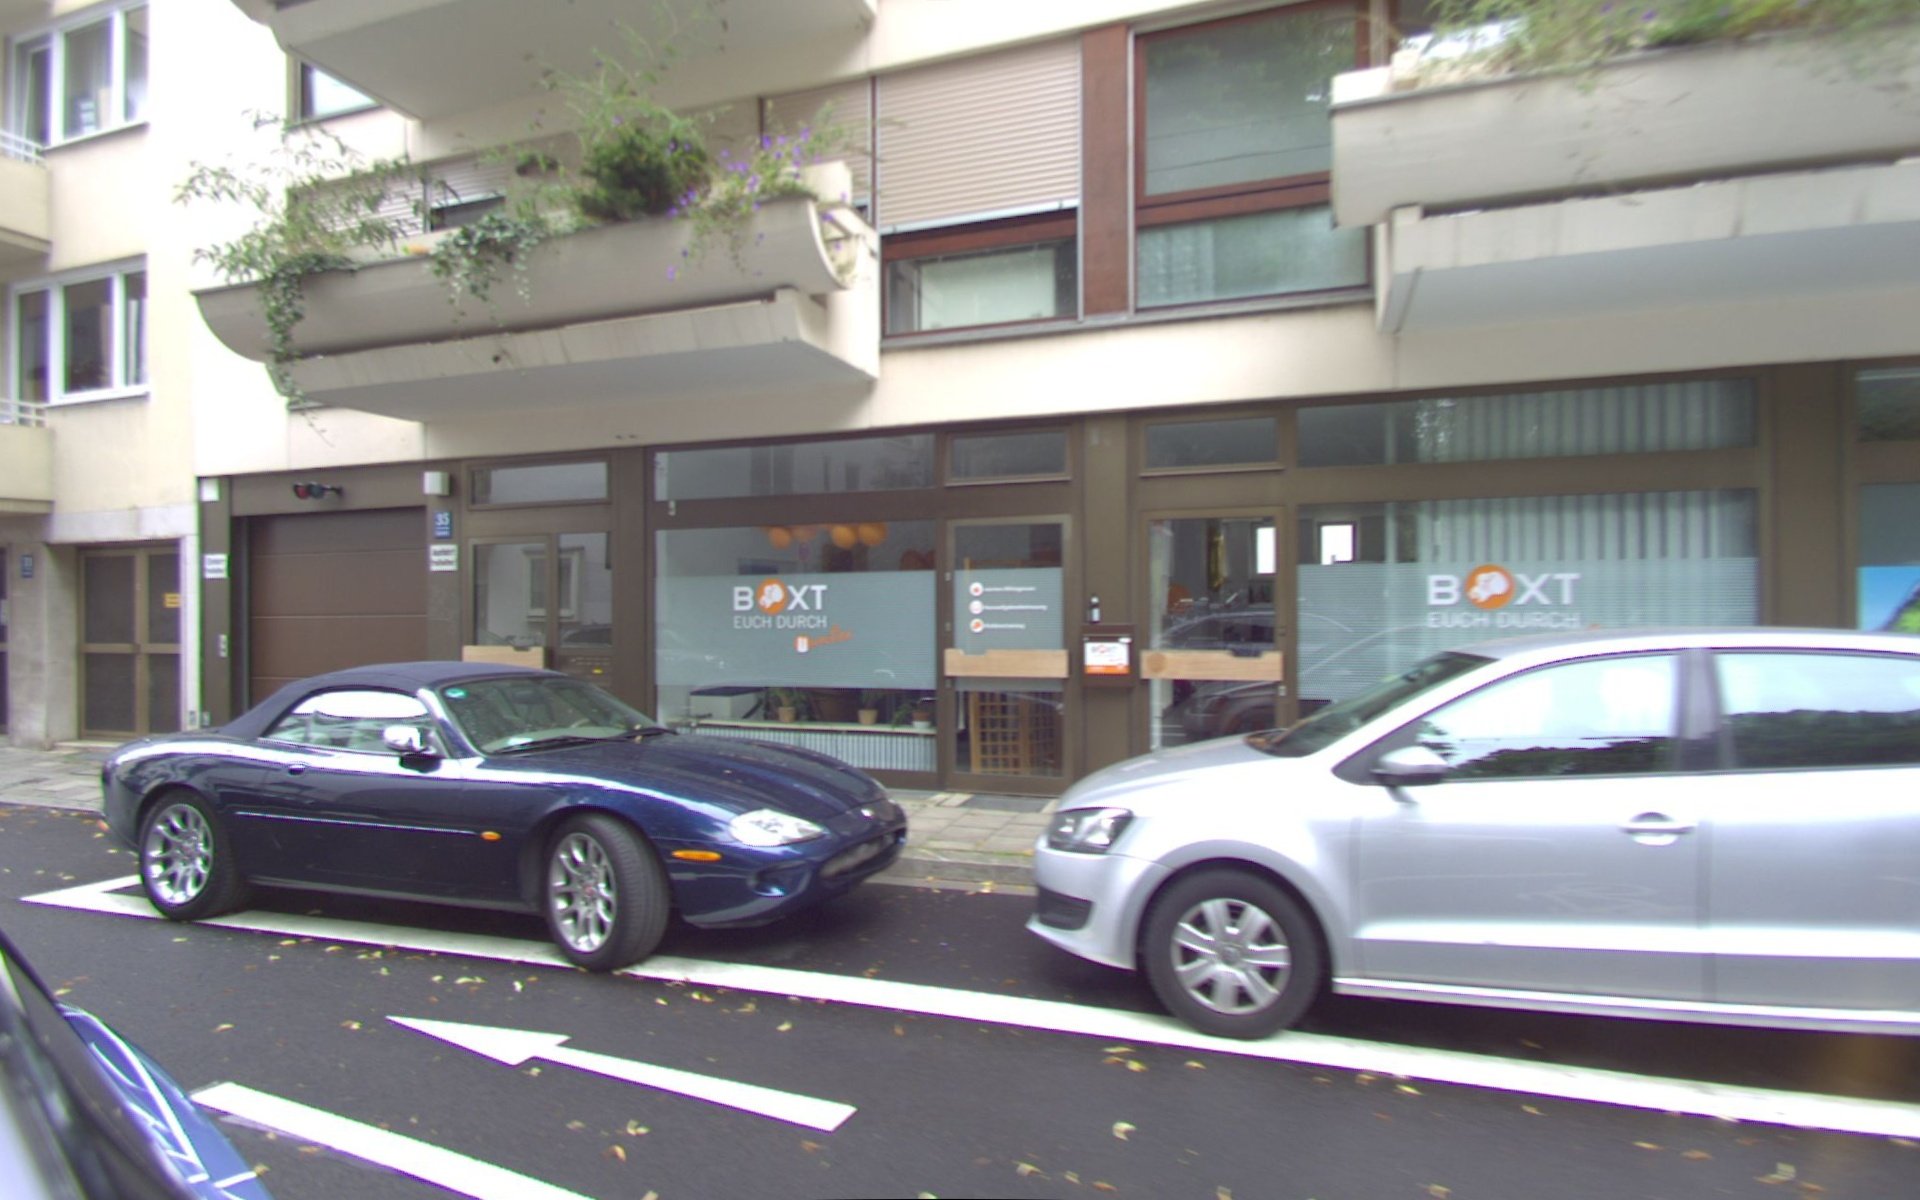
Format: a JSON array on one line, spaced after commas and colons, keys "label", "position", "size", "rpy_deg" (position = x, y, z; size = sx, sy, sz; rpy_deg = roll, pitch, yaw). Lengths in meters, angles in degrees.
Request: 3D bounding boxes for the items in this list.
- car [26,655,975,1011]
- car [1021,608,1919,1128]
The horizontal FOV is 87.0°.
[{"label": "car", "position": [-2.363, 0.953, 5.344], "size": [4.579, 1.288, 1.792], "rpy_deg": [-1, -3, 19]}, {"label": "car", "position": [2.259, 0.785, 3.769], "size": [3.801, 1.432, 1.556], "rpy_deg": [-1, -3, 18]}]
